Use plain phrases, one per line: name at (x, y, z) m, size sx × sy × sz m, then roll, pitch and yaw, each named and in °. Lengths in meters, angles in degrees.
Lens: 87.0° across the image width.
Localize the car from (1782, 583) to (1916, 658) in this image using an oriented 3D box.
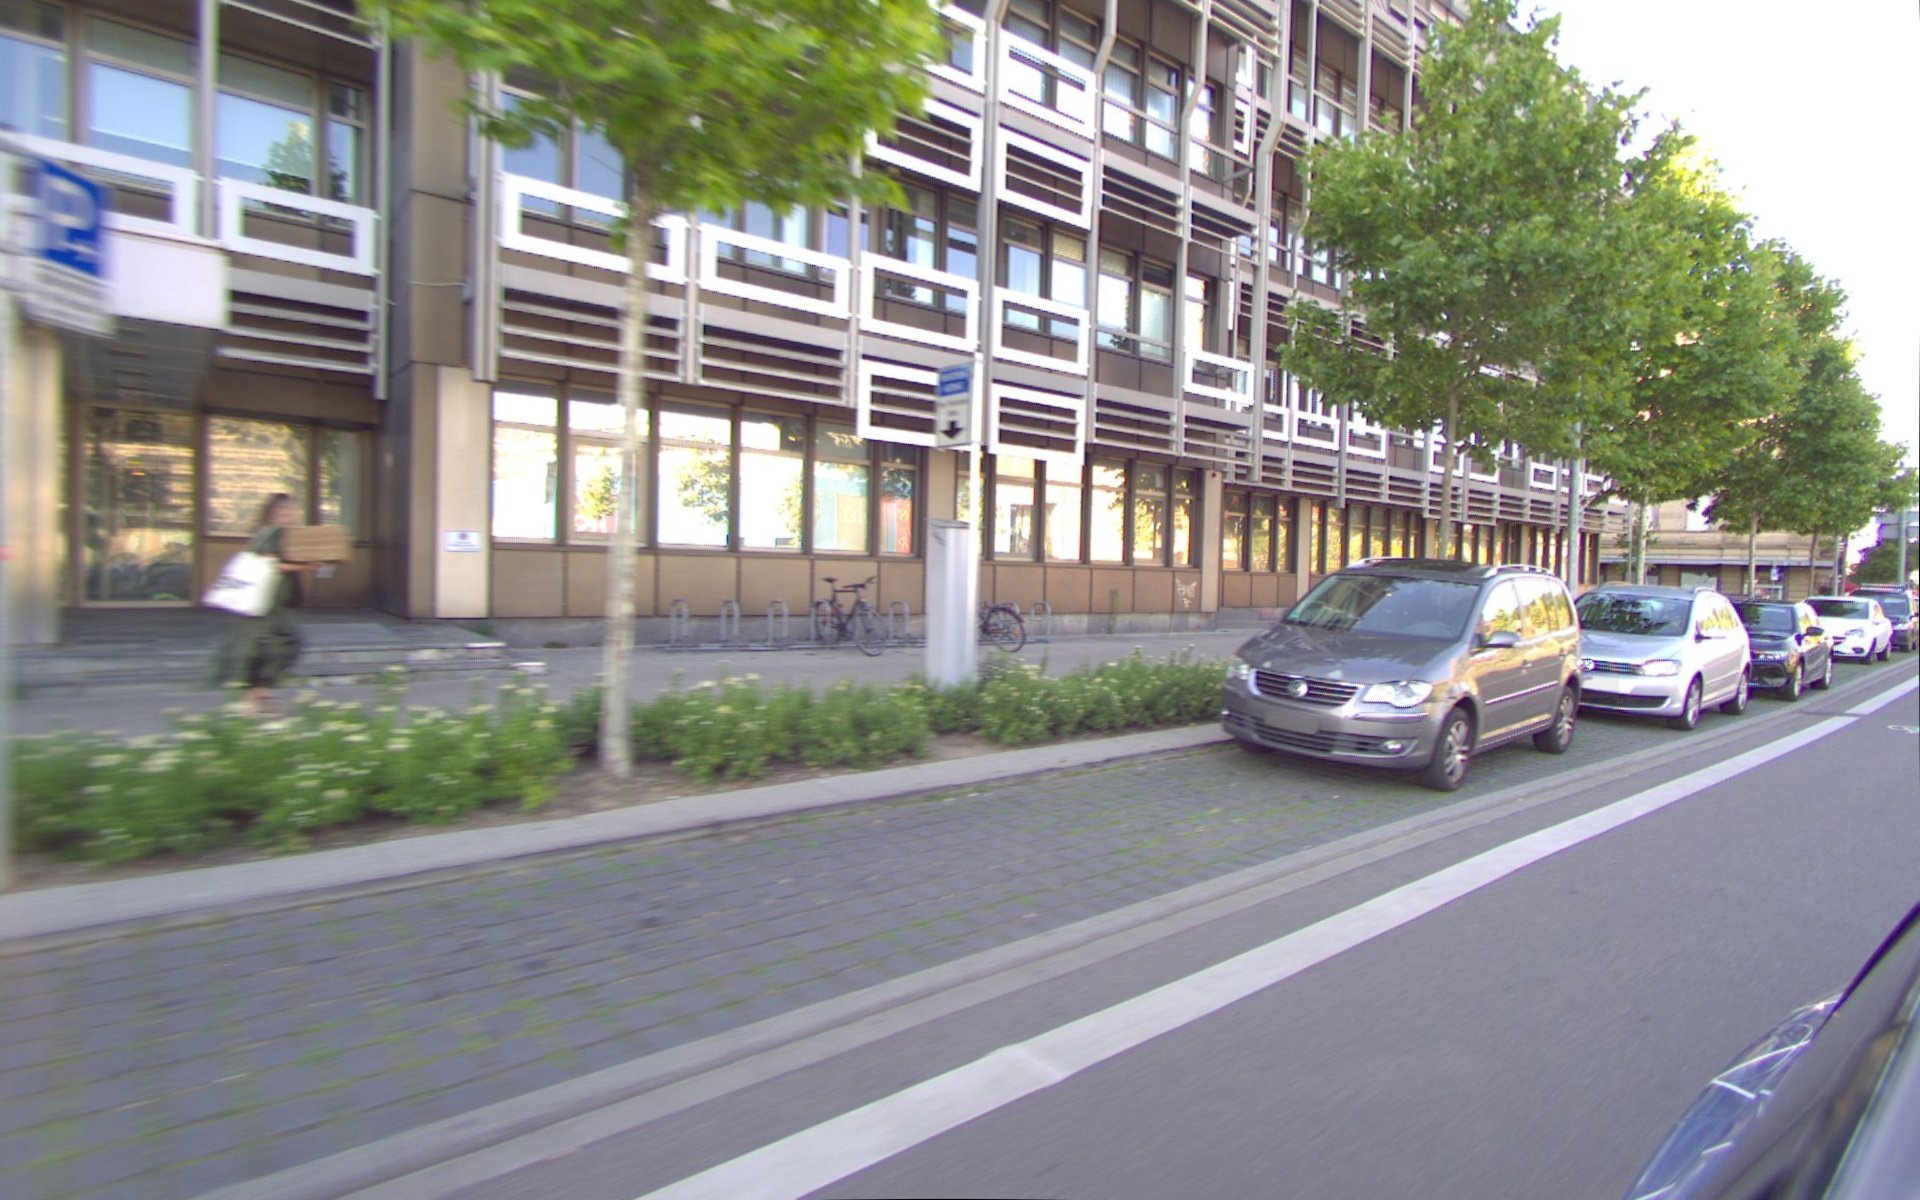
car at (20.684, 0.427, 23.496) m, size 4.129 × 1.508 × 1.668 m, roll 0°, pitch 4°, yaw -40°

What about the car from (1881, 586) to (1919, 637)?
car at (32.997, 0.404, 34.745) m, size 1.932 × 1.618 × 4.626 m, roll 6°, pitch 4°, yaw 43°

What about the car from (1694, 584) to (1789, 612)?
car at (45.062, -0.144, 58.455) m, size 4.253 × 1.467 × 1.838 m, roll 2°, pitch 3°, yaw 38°

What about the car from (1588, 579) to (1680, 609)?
car at (41.018, -0.390, 61.664) m, size 4.531 × 1.615 × 1.838 m, roll 2°, pitch 3°, yaw 38°

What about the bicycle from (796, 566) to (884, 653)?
bicycle at (-1.681, 0.105, 13.979) m, size 0.385 × 1.095 × 1.632 m, roll 0°, pitch 3°, yaw -38°

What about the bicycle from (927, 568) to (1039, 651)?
bicycle at (0.319, 0.107, 15.174) m, size 1.901 × 1.106 × 0.386 m, roll 5°, pitch 4°, yaw 45°

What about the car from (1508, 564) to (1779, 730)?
car at (8.529, 0.470, 12.494) m, size 4.143 × 1.641 × 1.732 m, roll 0°, pitch 4°, yaw -42°

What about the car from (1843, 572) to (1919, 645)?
car at (27.773, 0.221, 30.120) m, size 4.320 × 1.942 × 1.737 m, roll 0°, pitch 4°, yaw -43°

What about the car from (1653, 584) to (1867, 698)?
car at (12.730, 0.561, 16.012) m, size 4.299 × 1.466 × 1.799 m, roll 0°, pitch 4°, yaw -41°

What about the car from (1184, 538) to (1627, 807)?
car at (4.002, 0.437, 8.700) m, size 4.436 × 1.708 × 1.732 m, roll 0°, pitch 4°, yaw -42°

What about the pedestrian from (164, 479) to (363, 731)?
pedestrian at (-5.065, 0.012, 7.363) m, size 1.116 × 1.668 × 0.791 m, roll 0°, pitch 3°, yaw -40°
